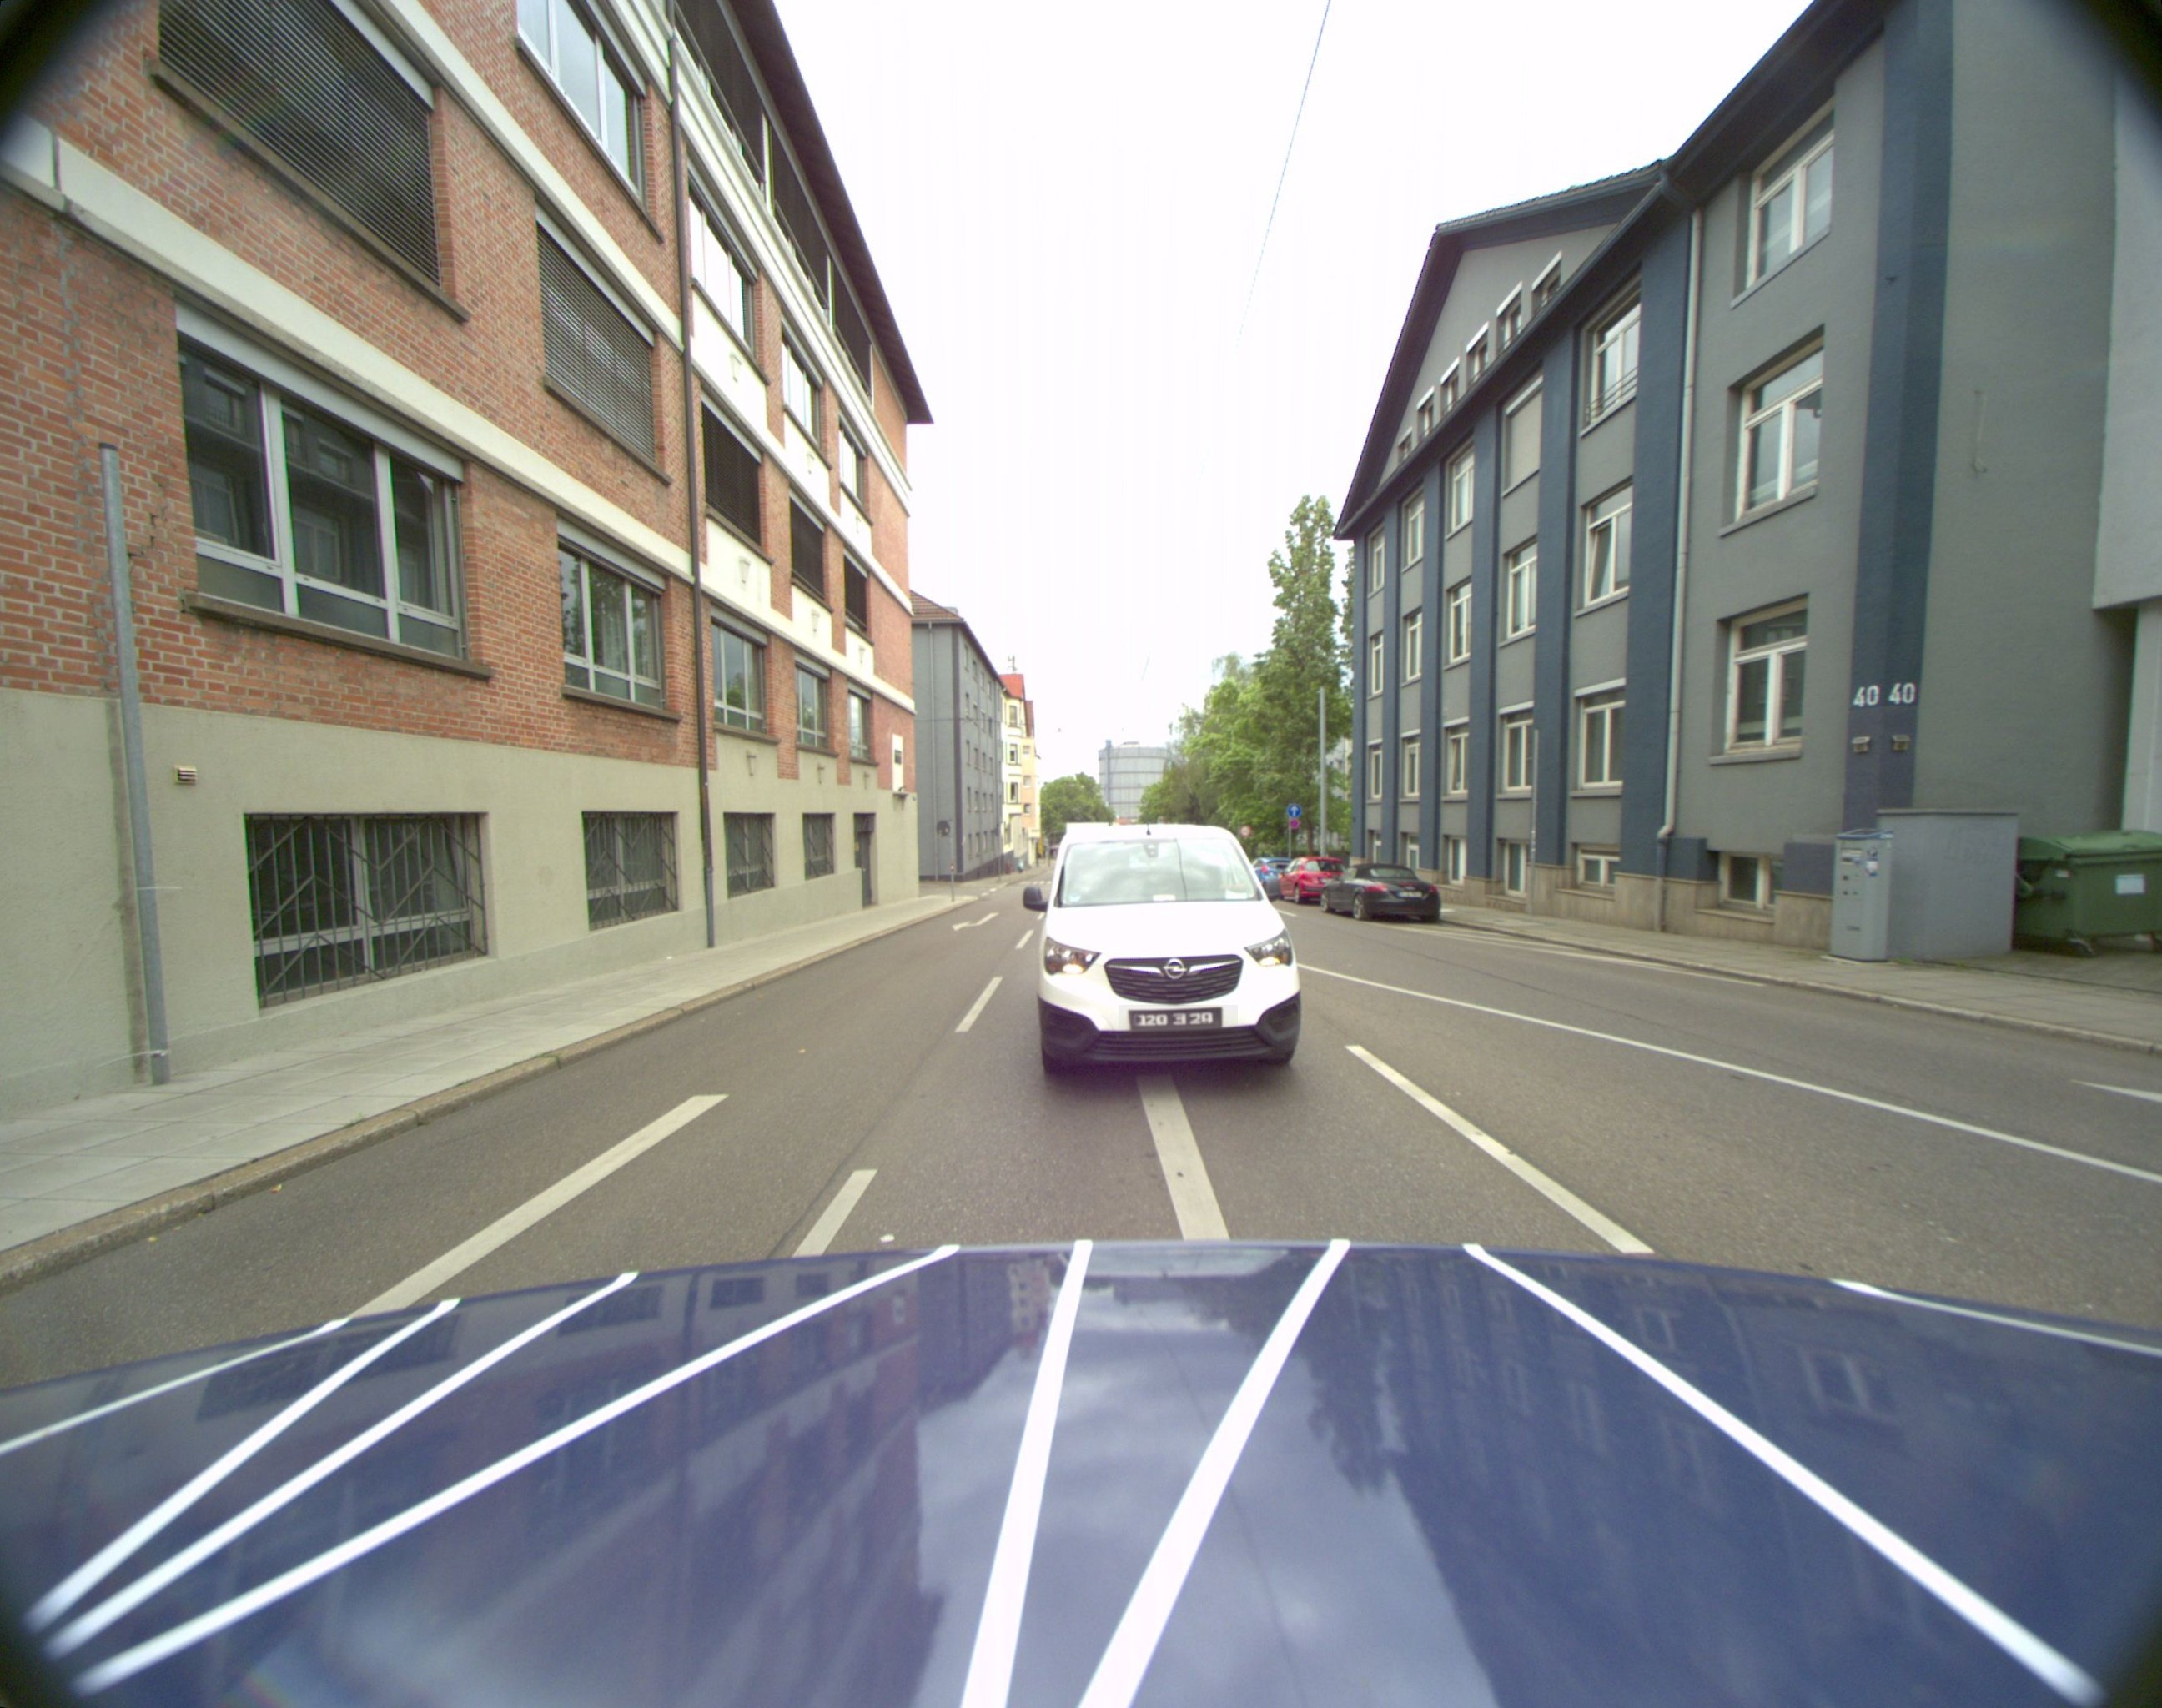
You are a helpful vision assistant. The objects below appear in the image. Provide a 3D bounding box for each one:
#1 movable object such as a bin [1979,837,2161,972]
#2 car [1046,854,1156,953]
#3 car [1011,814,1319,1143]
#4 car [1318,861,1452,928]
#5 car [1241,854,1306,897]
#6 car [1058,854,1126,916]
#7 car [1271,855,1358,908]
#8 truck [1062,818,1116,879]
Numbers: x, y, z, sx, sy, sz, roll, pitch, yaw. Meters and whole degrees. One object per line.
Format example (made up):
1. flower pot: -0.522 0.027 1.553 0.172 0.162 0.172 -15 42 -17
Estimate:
1. movable object such as a bin: 12.080 0.571 9.175 1.229 1.498 1.040 -2 1 1
2. car: 0.349 0.806 14.391 1.739 1.519 3.999 -2 1 1
3. car: 0.523 0.711 6.451 1.739 1.875 3.999 -2 1 1
4. car: 7.243 0.904 18.502 1.801 1.384 3.729 0 1 1
5. car: 7.471 0.792 29.806 1.644 1.441 3.729 -2 1 1
6. car: 0.311 0.816 21.883 1.739 1.519 3.999 -2 1 1
7. car: 7.386 0.823 24.342 1.644 1.441 3.729 -2 1 1
8. truck: 0.505 -0.361 48.298 2.969 3.409 8.879 -2 1 1
